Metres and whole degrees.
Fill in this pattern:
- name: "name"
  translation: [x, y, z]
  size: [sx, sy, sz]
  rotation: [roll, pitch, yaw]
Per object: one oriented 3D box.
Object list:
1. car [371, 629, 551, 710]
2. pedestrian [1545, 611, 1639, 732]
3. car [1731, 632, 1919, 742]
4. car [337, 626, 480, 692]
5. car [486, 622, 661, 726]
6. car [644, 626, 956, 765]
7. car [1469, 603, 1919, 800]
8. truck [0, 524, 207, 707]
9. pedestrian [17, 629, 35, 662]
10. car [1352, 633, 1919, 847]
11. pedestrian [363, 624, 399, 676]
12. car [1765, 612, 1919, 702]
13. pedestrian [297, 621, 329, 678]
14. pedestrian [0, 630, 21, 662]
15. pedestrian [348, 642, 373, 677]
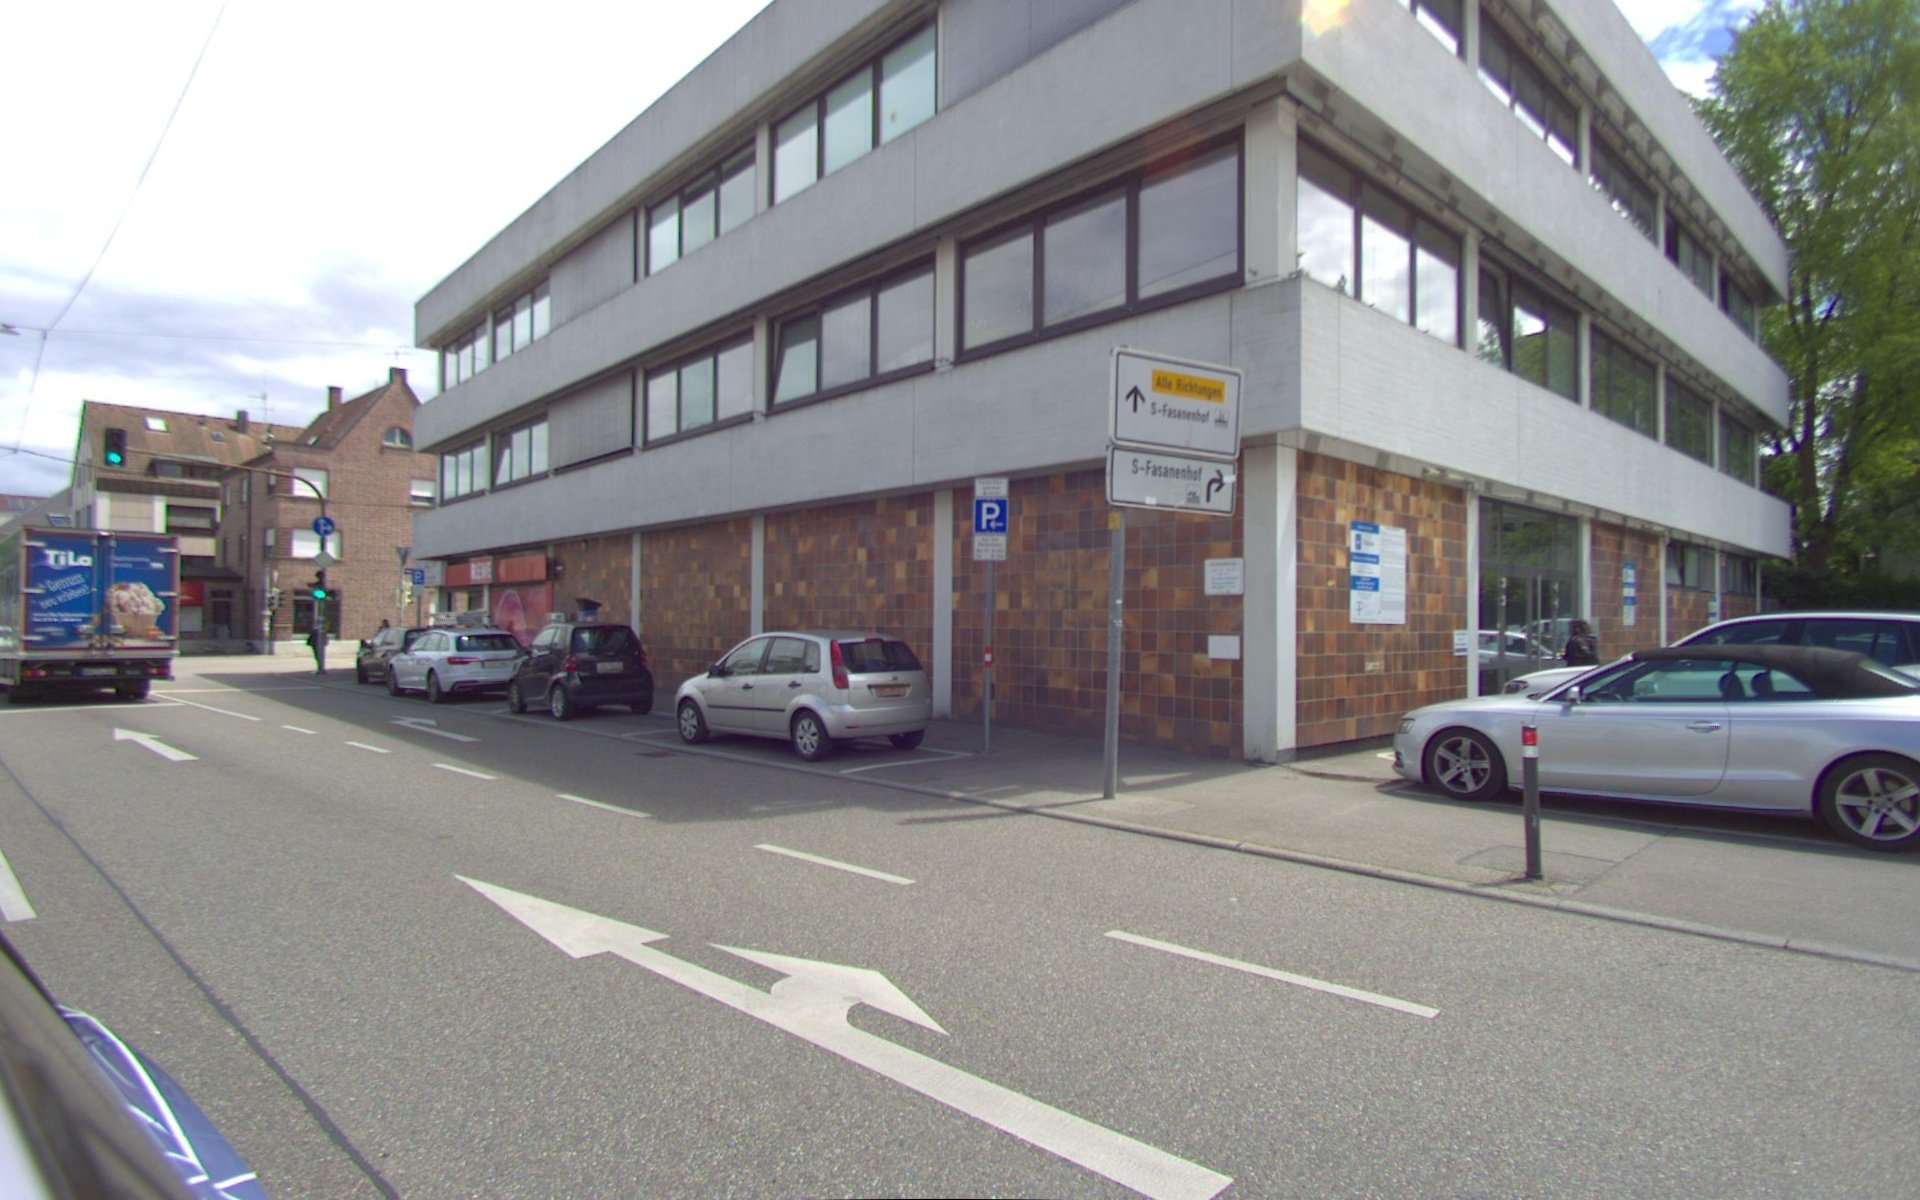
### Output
- name: "car"
  translation: [-10.612, 1.368, 21.334]
  size: [2.020, 1.455, 4.956]
  rotation: [0, -1, -44]
- name: "pedestrian"
  translation: [9.192, 1.023, 14.729]
  size: [0.708, 1.684, 0.996]
  rotation: [4, -4, -41]
- name: "car"
  translation: [14.620, 1.285, 15.258]
  size: [1.899, 1.590, 4.500]
  rotation: [2, -3, -44]
- name: "car"
  translation: [-14.032, 1.436, 25.652]
  size: [4.286, 1.486, 2.021]
  rotation: [-2, -1, 44]
- name: "car"
  translation: [-6.607, 1.174, 17.179]
  size: [1.716, 1.568, 3.059]
  rotation: [0, -1, -44]
- name: "car"
  translation: [-2.132, 1.063, 12.680]
  size: [4.149, 1.433, 1.703]
  rotation: [-2, -1, 44]
- name: "car"
  translation: [7.940, 0.932, 9.902]
  size: [1.927, 1.632, 4.936]
  rotation: [5, -5, -40]
- name: "truck"
  translation: [-18.374, 0.369, 21.076]
  size: [8.088, 3.116, 2.822]
  rotation: [-1, -2, 43]
- name: "pedestrian"
  translation: [-49.912, 2.443, 54.086]
  size: [0.673, 1.729, 0.878]
  rotation: [2, -3, -41]
- name: "car"
  translation: [5.967, 0.959, 8.200]
  size: [1.928, 1.368, 4.860]
  rotation: [2, -2, -43]
- name: "pedestrian"
  translation: [-18.269, 1.565, 31.934]
  size: [0.809, 1.566, 0.847]
  rotation: [0, -1, -42]
- name: "car"
  translation: [21.527, 1.257, 22.751]
  size: [1.944, 1.956, 5.095]
  rotation: [2, -2, -41]
- name: "pedestrian"
  translation: [-19.554, 1.483, 30.598]
  size: [0.709, 1.657, 0.682]
  rotation: [0, -1, -43]
- name: "pedestrian"
  translation: [-50.345, 2.423, 53.664]
  size: [0.767, 1.708, 0.797]
  rotation: [2, -3, -41]
- name: "pedestrian"
  translation: [-18.744, 1.857, 31.617]
  size: [0.552, 1.065, 0.663]
  rotation: [0, -1, -41]
